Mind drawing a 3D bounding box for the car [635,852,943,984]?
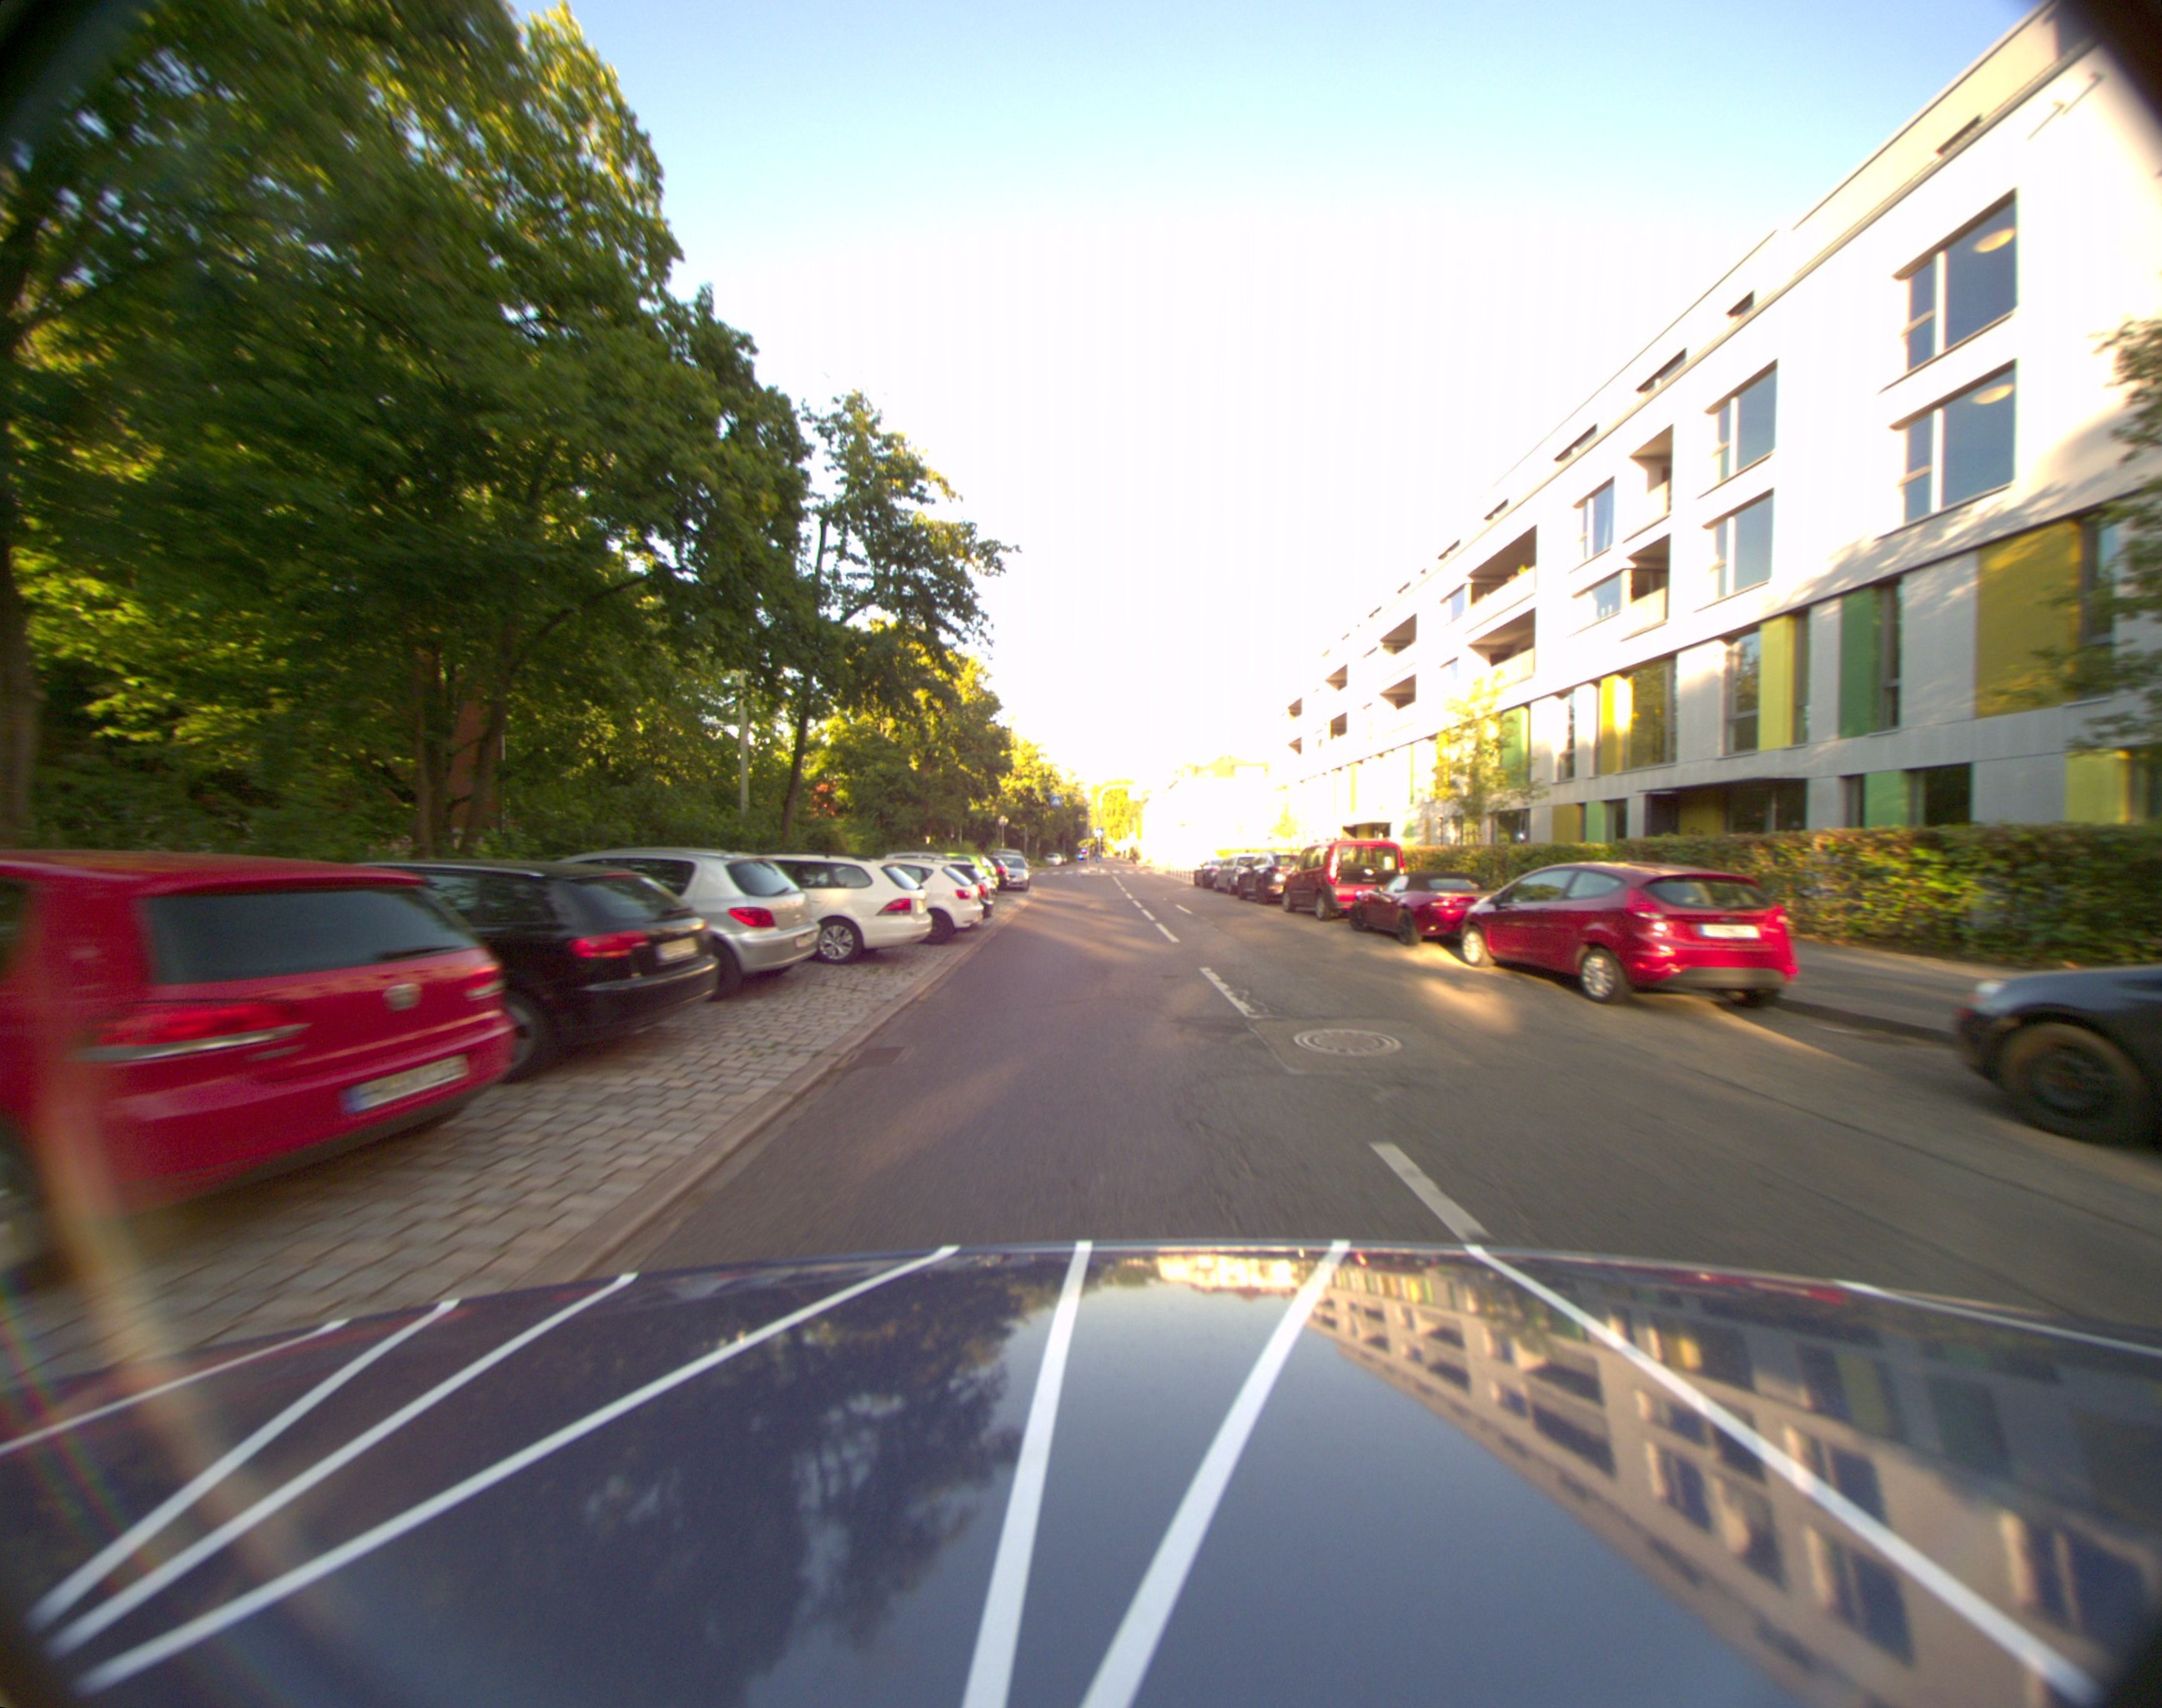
[{"bbox_3d":[-4.010,0.842,10.897,3.676,1.543,1.734,3,0,-1],"label":"car"}]

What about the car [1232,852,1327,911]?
[{"bbox_3d":[6.128,0.787,23.987,1.746,1.666,4.416,1,0,-1],"label":"car"}]

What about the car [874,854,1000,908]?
[{"bbox_3d":[-4.184,0.764,22.409,3.393,1.516,1.671,0,0,1],"label":"car"}]

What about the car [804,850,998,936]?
[{"bbox_3d":[-3.661,0.774,15.960,3.619,1.516,1.671,3,0,-1],"label":"car"}]

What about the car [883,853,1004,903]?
[{"bbox_3d":[-4.452,0.761,24.957,3.636,1.531,1.671,-1,1,1],"label":"car"}]

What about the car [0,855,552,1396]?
[{"bbox_3d":[-4.794,0.819,3.230,3.817,1.466,1.756,3,1,1],"label":"car"}]

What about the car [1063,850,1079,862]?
[{"bbox_3d":[-1.236,0.270,95.453,1.752,1.478,4.509,0,0,3],"label":"car"}]

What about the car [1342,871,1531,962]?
[{"bbox_3d":[6.086,1.000,13.503,1.560,1.272,3.732,1,0,-1],"label":"car"}]

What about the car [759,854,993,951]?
[{"bbox_3d":[-3.545,0.822,13.665,3.676,1.436,1.734,3,0,-1],"label":"car"}]

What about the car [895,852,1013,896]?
[{"bbox_3d":[-4.513,0.699,27.439,3.959,1.503,1.739,1,1,0],"label":"car"}]

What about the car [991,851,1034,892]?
[{"bbox_3d":[-2.852,0.678,31.658,1.655,1.558,4.299,1,0,-5],"label":"car"}]

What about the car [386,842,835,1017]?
[{"bbox_3d":[-4.892,0.724,8.311,3.734,1.490,1.820,3,1,1],"label":"car"}]

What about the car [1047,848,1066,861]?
[{"bbox_3d":[-2.877,0.079,89.067,1.752,1.478,4.177,-1,1,4],"label":"car"}]

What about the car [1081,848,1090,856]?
[{"bbox_3d":[1.190,-0.582,188.145,2.228,2.002,4.890,0,0,1],"label":"car"}]

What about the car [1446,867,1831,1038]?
[{"bbox_3d":[6.022,0.935,8.875,1.602,1.447,3.861,1,1,-1],"label":"car"}]

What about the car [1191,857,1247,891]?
[{"bbox_3d":[6.172,0.866,34.417,1.746,1.349,4.396,1,1,0],"label":"car"}]

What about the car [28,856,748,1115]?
[{"bbox_3d":[-4.790,0.835,5.682,3.758,1.387,1.756,3,1,1],"label":"car"}]

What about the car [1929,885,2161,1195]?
[{"bbox_3d":[6.007,0.936,2.626,1.602,1.447,4.055,1,0,0],"label":"car"}]

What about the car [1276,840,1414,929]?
[{"bbox_3d":[6.226,0.649,18.476,1.812,1.878,4.238,1,0,-1],"label":"car"}]

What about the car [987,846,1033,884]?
[{"bbox_3d":[-3.590,0.489,37.828,1.928,1.738,4.661,1,1,-10],"label":"car"}]

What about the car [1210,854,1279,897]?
[{"bbox_3d":[6.309,0.775,29.733,1.747,1.525,4.115,0,0,-2],"label":"car"}]
